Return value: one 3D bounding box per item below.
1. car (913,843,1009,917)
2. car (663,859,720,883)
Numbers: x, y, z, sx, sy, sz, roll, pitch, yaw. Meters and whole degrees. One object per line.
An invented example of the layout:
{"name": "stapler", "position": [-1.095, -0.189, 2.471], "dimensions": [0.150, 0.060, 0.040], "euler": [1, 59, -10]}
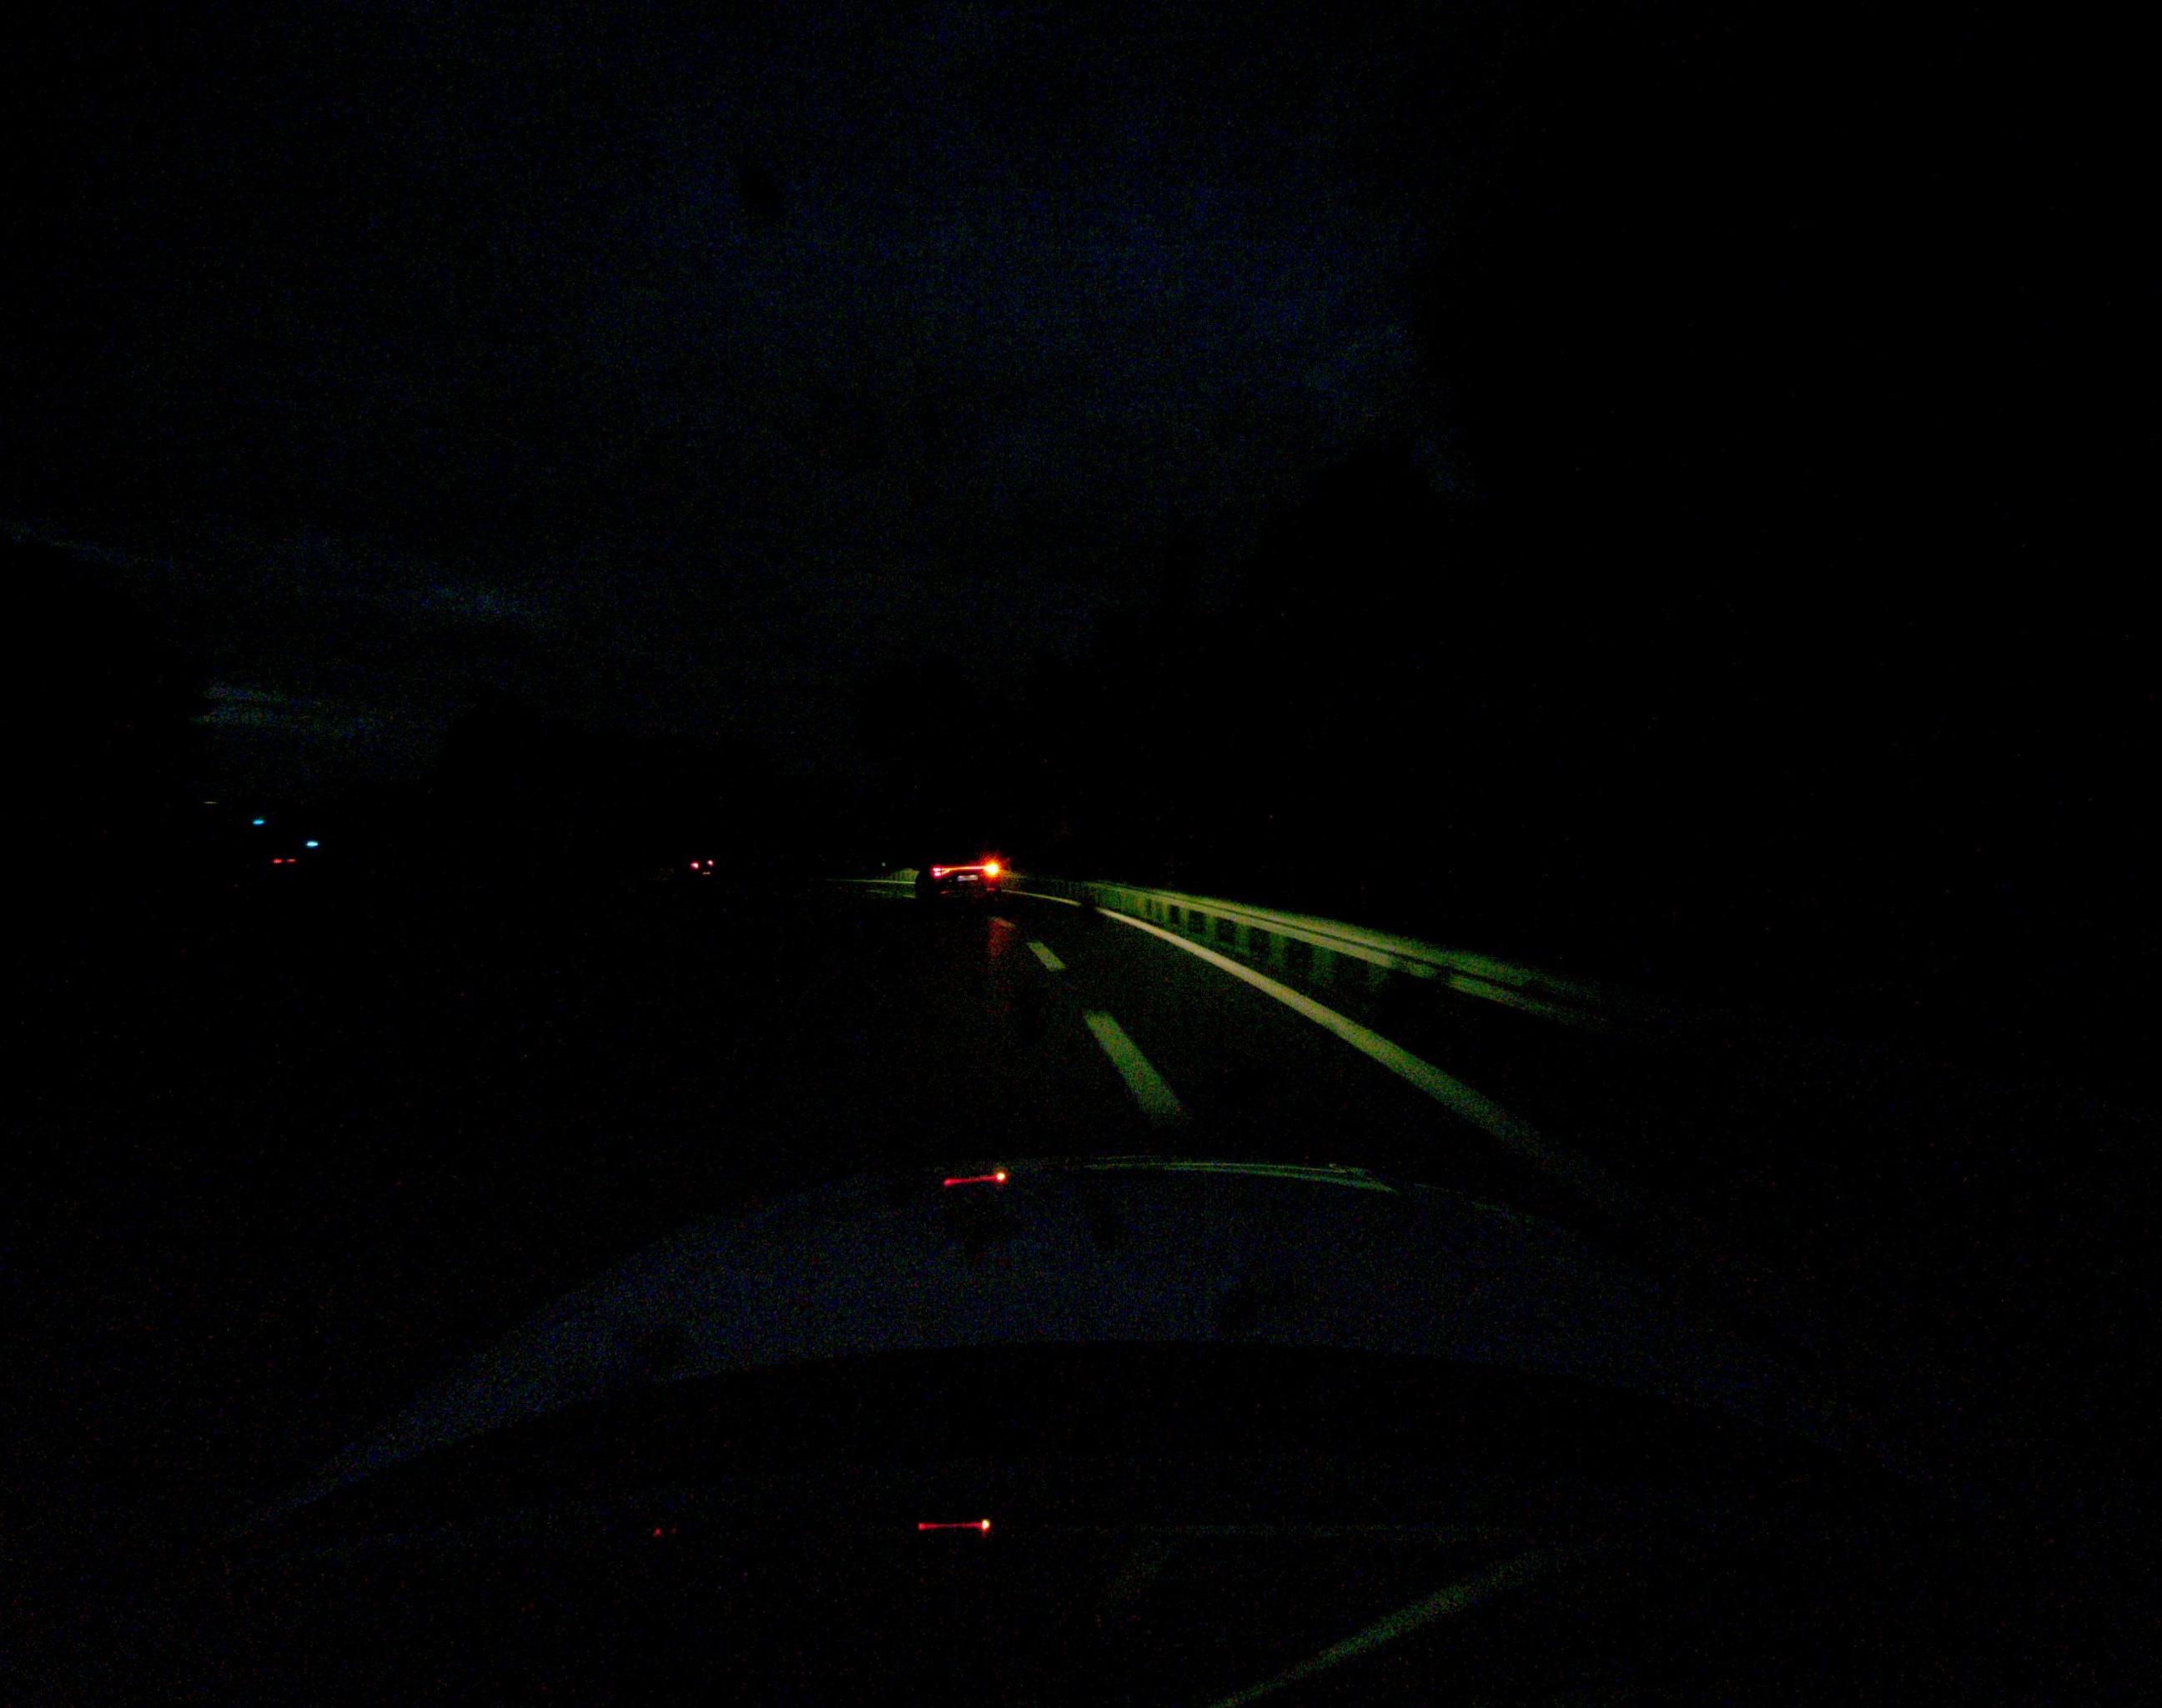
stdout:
{"name": "car", "position": [-3.319, 0.623, 21.778], "dimensions": [1.997, 1.659, 4.293], "euler": [-3, 0, -15]}
{"name": "car", "position": [-27.396, 1.146, 57.237], "dimensions": [3.948, 1.598, 2.013], "euler": [0, -1, 37]}
